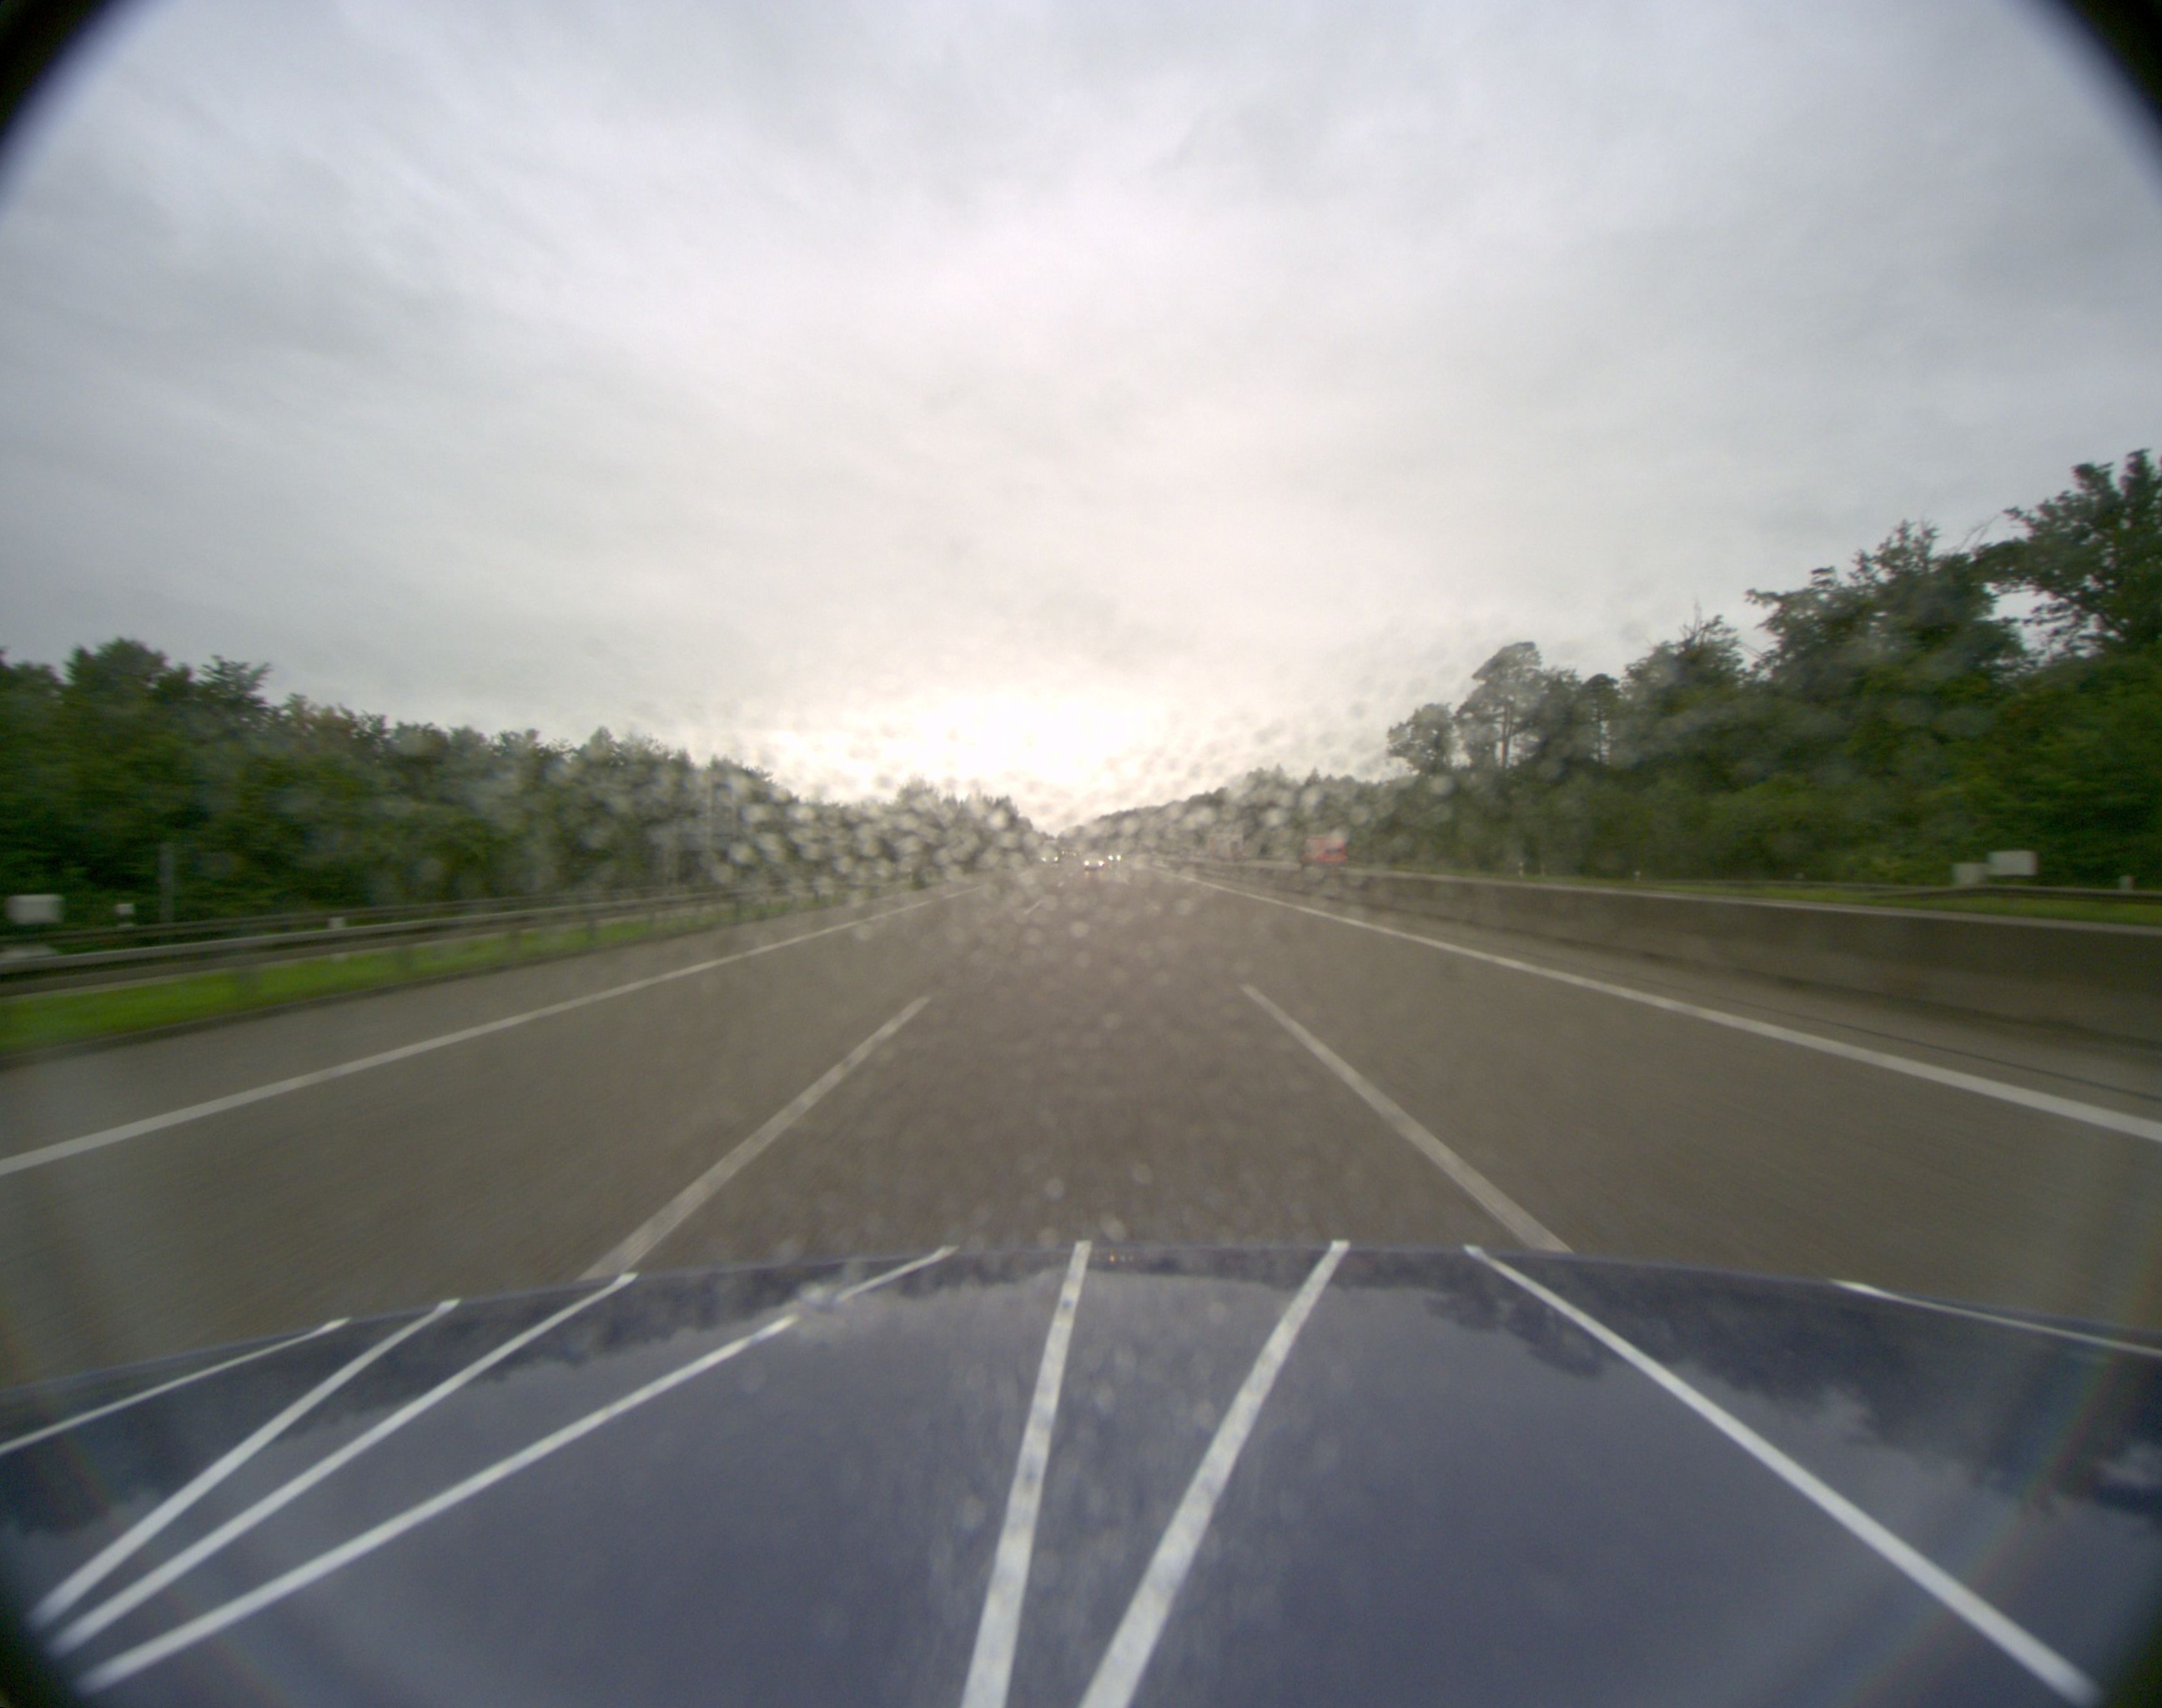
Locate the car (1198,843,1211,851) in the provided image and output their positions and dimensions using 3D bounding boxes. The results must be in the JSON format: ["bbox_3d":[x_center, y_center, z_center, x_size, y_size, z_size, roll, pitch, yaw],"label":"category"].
[{"bbox_3d":[25.033,-1.426,154.191,1.998,1.608,4.000,-1,1,1],"label":"car"}]

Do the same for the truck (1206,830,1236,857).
[{"bbox_3d":[21.261,-1.562,115.581,3.356,4.005,6.464,-1,1,1],"label":"truck"}]

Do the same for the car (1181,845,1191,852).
[{"bbox_3d":[23.611,-1.205,171.070,1.715,1.433,3.999,0,0,-1],"label":"car"}]

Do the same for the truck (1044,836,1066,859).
[{"bbox_3d":[-4.467,-1.134,133.303,3.244,3.873,12.024,-1,1,0],"label":"truck"}]

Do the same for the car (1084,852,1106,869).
[{"bbox_3d":[1.348,0.633,70.751,1.932,1.521,4.299,0,-1,2],"label":"car"}]

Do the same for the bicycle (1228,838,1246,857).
[{"bbox_3d":[20.934,-0.896,102.137,2.199,2.511,1.110,-2,1,1],"label":"bicycle"}]

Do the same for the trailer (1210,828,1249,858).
[{"bbox_3d":[21.120,-1.484,109.046,3.370,3.994,12.609,-1,1,1],"label":"trailer"}]

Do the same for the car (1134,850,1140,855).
[{"bbox_3d":[19.026,-0.663,257.067,1.824,1.674,3.999,-1,0,0],"label":"car"}]

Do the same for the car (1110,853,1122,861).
[{"bbox_3d":[6.057,0.520,131.297,2.009,1.455,4.000,0,0,3],"label":"car"}]

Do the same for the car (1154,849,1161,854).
[{"bbox_3d":[23.562,-0.867,233.302,1.693,1.464,3.543,-1,0,1],"label":"car"}]

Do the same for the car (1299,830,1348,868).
[{"bbox_3d":[20.105,-0.435,63.345,2.186,3.025,5.975,-1,1,1],"label":"car"}]

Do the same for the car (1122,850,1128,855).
[{"bbox_3d":[15.365,-0.704,266.910,1.998,1.718,4.000,-1,0,1],"label":"car"}]
